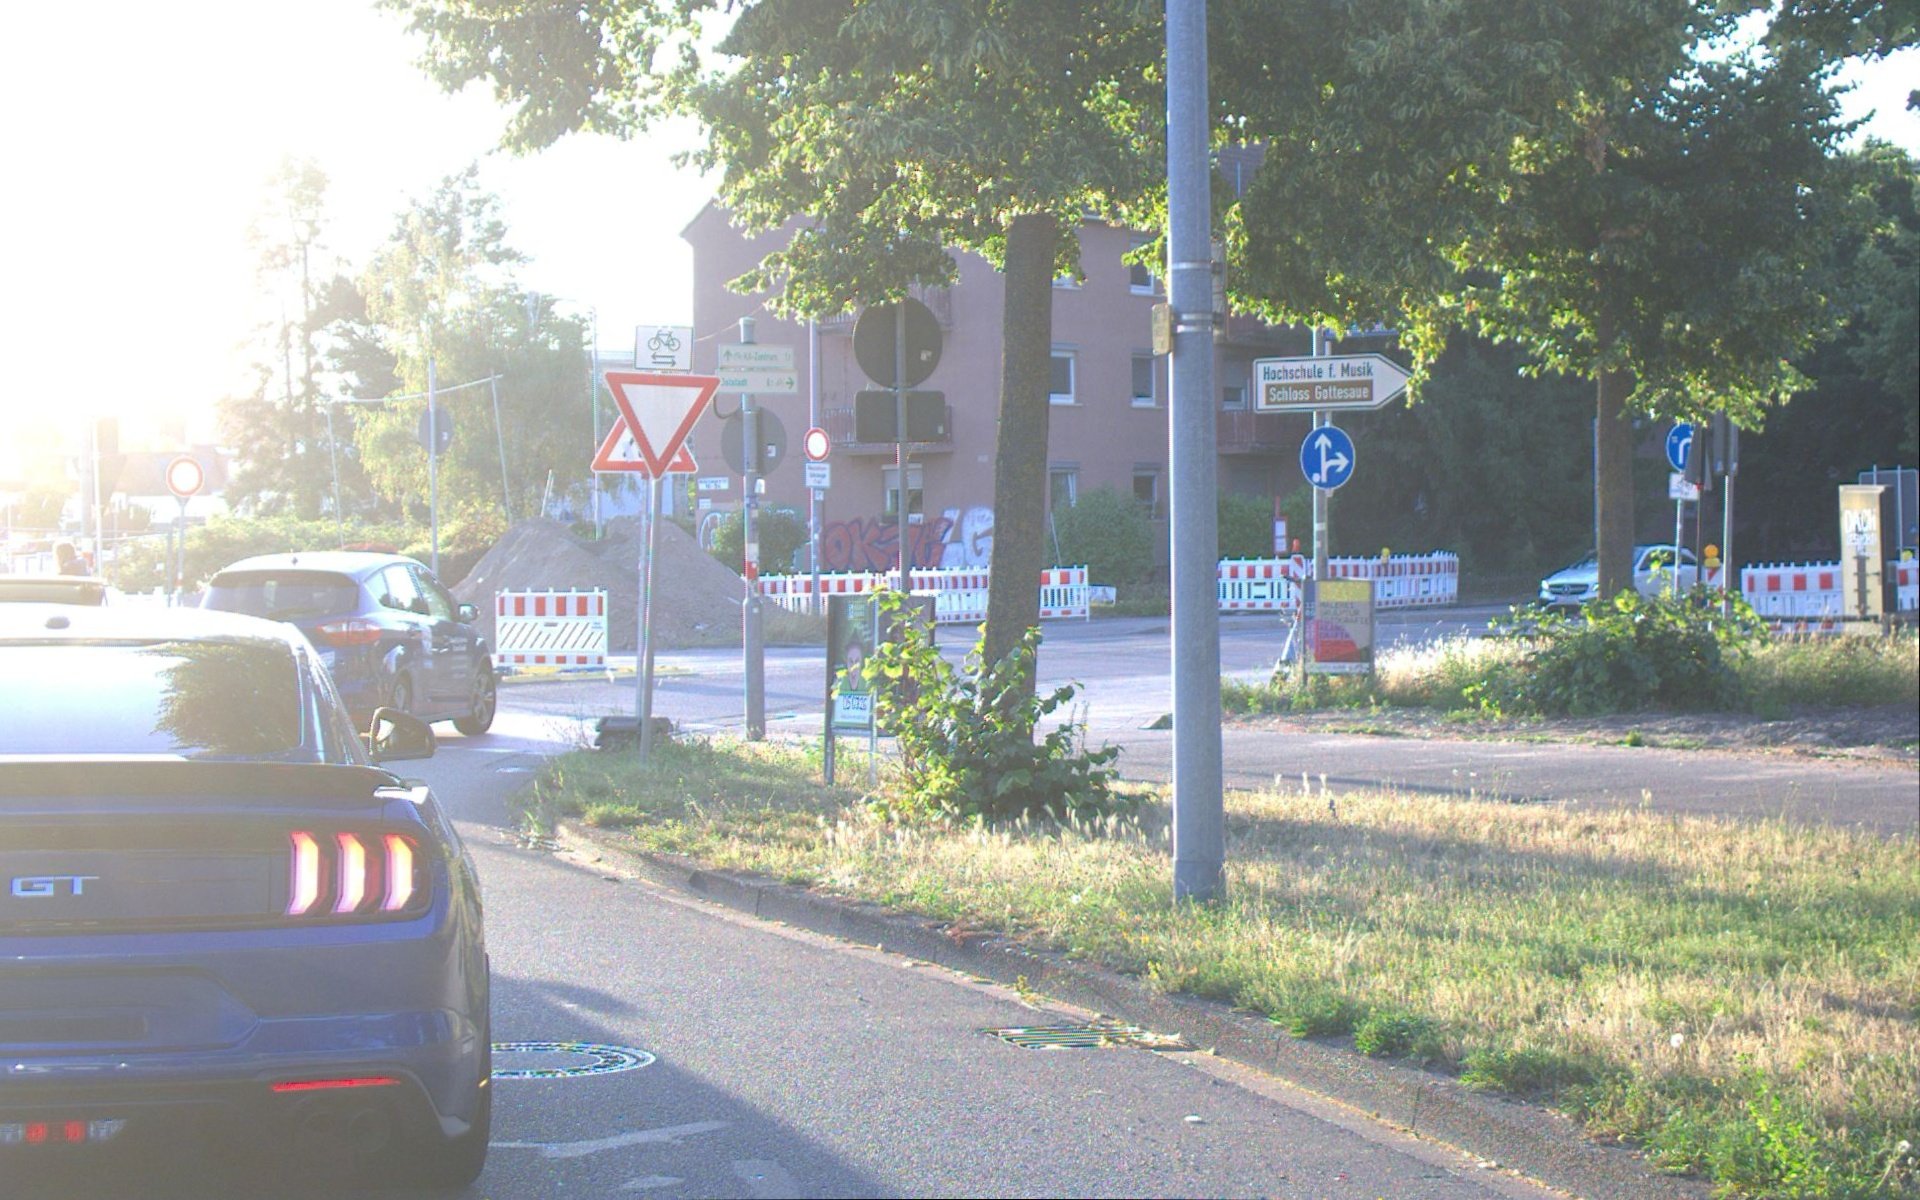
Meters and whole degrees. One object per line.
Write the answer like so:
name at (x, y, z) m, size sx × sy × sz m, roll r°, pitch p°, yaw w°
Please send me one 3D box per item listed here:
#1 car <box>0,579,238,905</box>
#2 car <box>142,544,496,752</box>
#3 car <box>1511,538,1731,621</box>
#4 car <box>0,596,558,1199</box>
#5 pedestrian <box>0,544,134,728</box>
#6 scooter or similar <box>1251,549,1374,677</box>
car at (-4.859, 0.614, 17.129) m, size 1.950 × 1.422 × 4.431 m, roll 2°, pitch 0°, yaw -18°
car at (-5.265, 0.343, 28.785) m, size 1.951 × 1.597 × 4.077 m, roll 0°, pitch 1°, yaw 4°
car at (13.290, -0.432, 68.933) m, size 2.074 × 1.448 × 4.644 m, roll 6°, pitch 5°, yaw 43°
car at (-2.417, 0.684, 8.839) m, size 1.950 × 1.337 × 4.672 m, roll 0°, pitch 1°, yaw -17°
pedestrian at (-8.371, 0.323, 32.174) m, size 0.886 × 1.680 × 0.844 m, roll 0°, pitch 1°, yaw 34°
scooter or similar at (3.457, 0.119, 33.746) m, size 1.119 × 1.234 × 0.442 m, roll -1°, pitch 1°, yaw -13°
